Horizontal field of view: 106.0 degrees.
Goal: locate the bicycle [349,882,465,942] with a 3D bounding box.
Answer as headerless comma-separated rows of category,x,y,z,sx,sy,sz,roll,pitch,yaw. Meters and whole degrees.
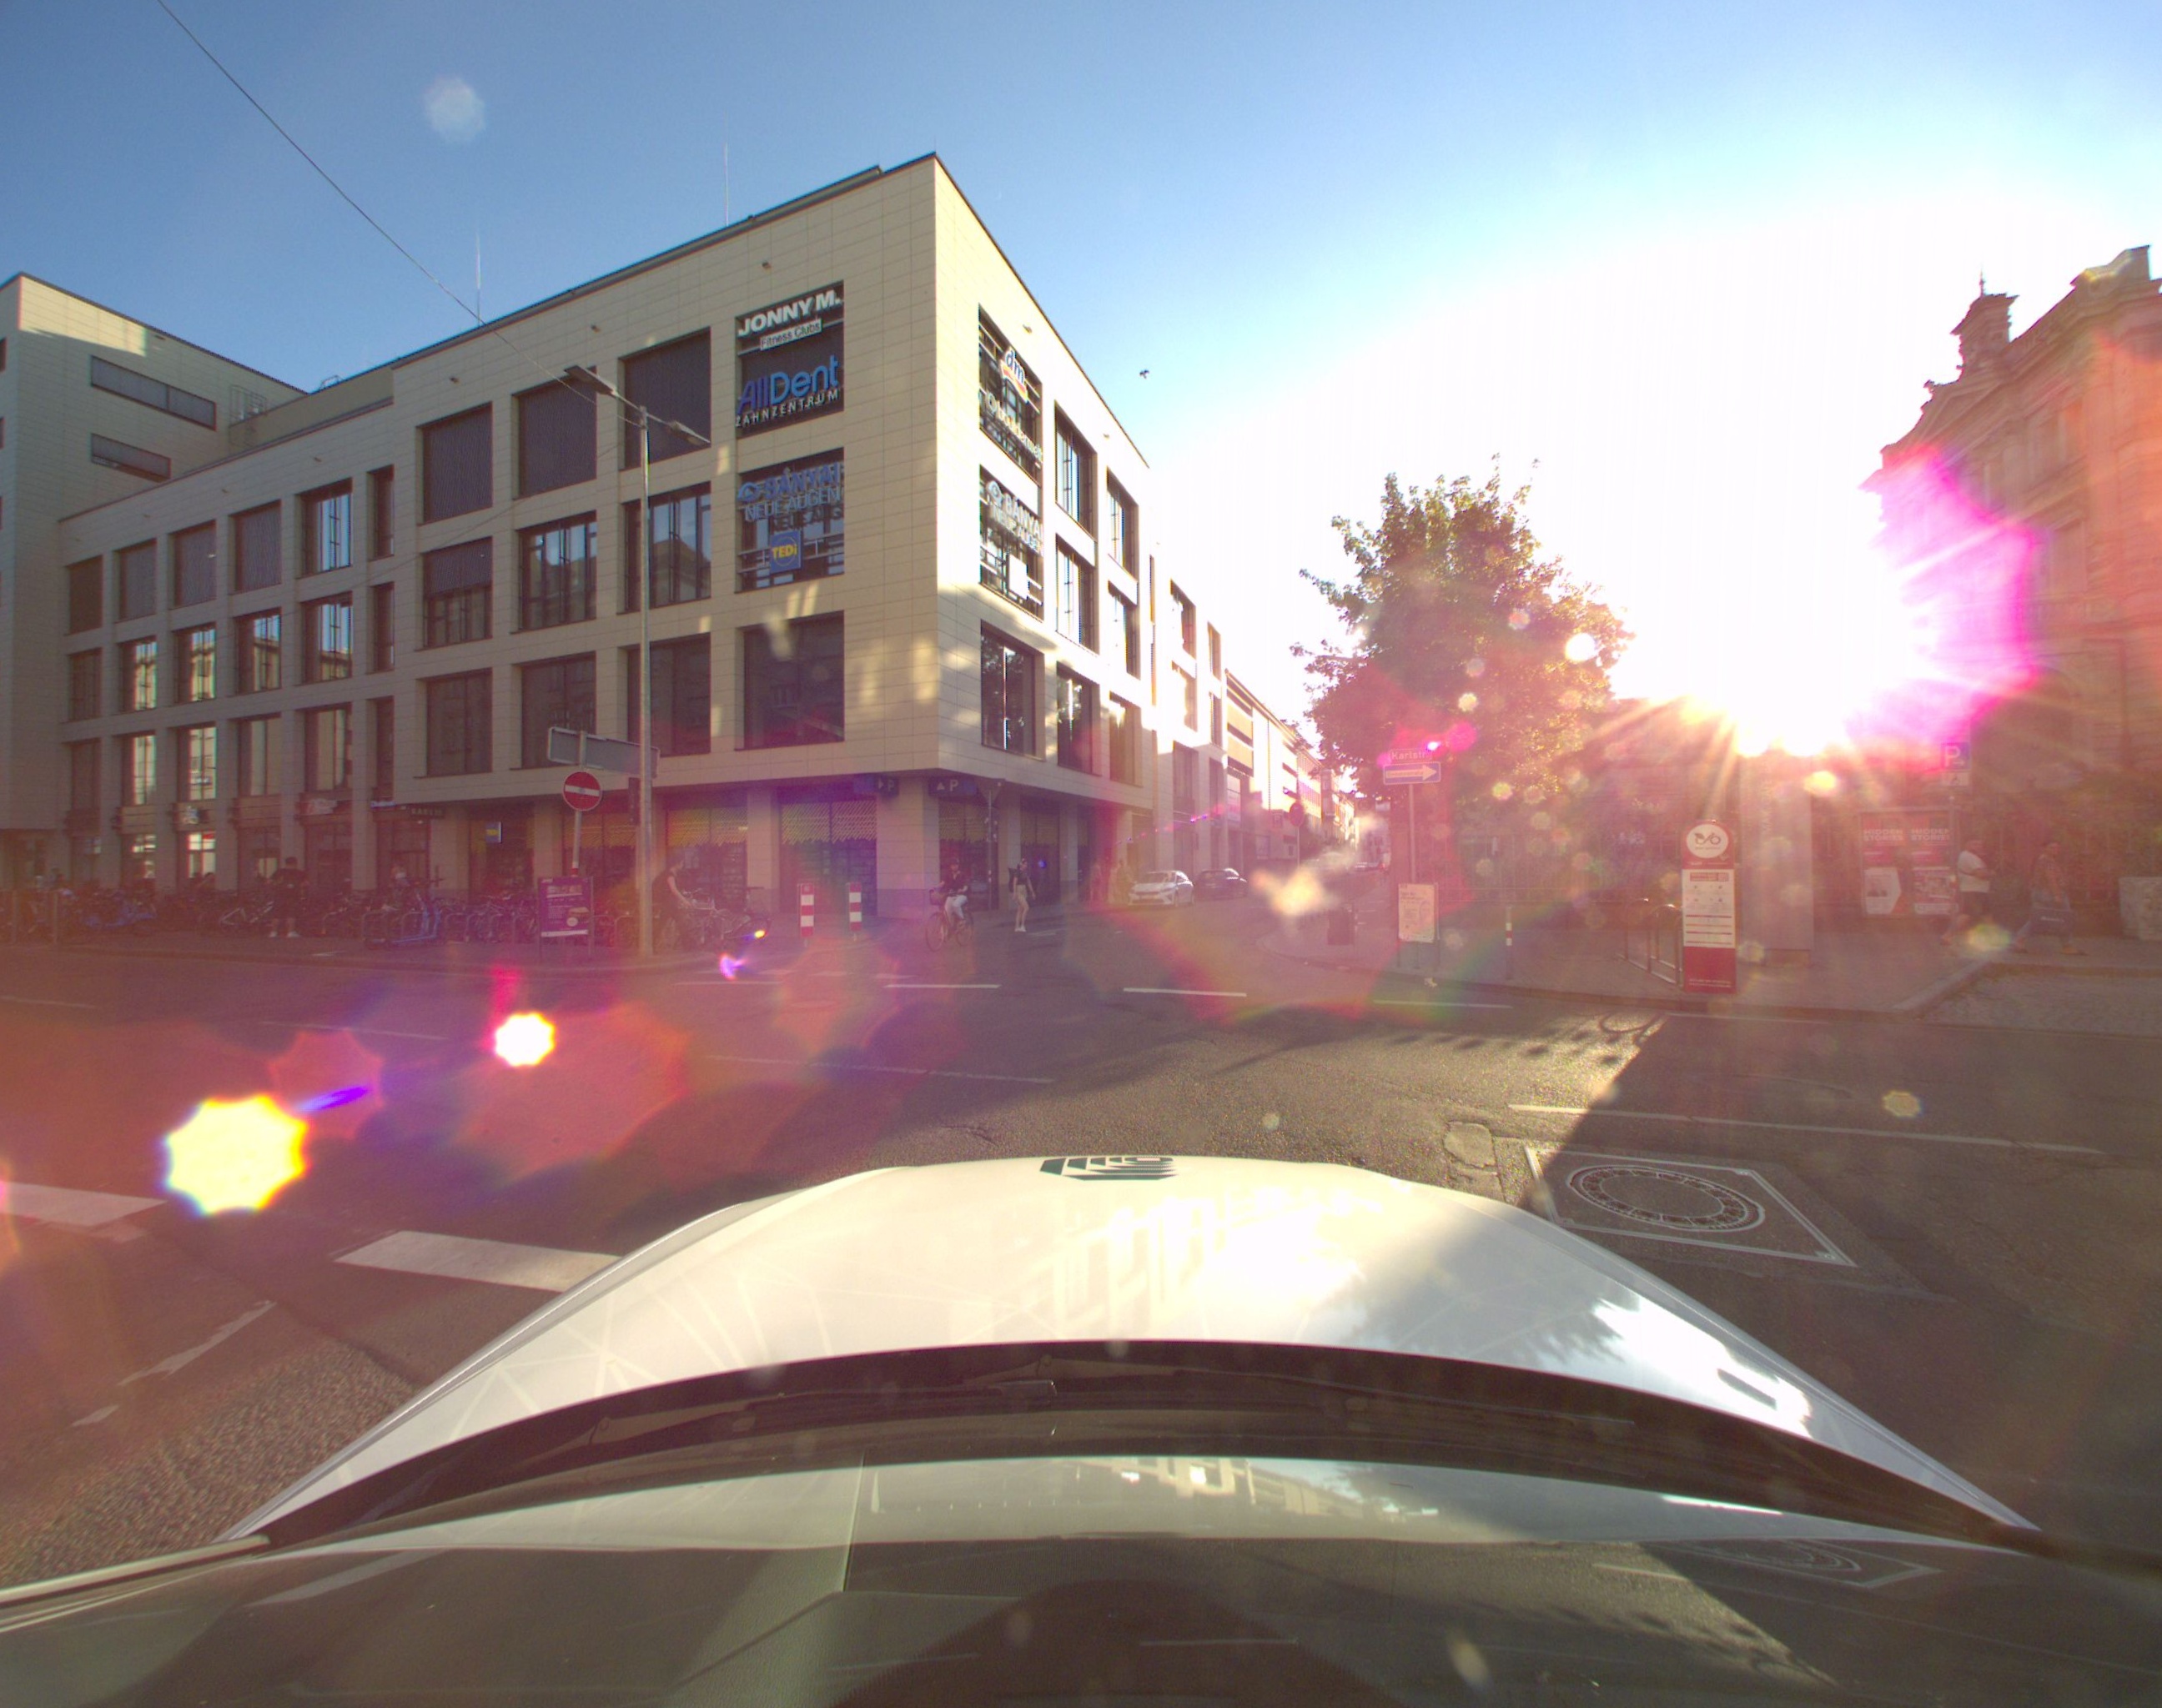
bicycle,-15.089,1.269,18.301,0.507,1.255,1.989,-1,-1,21

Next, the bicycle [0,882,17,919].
bicycle,-36.633,1.551,26.722,0.507,1.255,1.989,-1,-1,21

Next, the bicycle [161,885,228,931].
bicycle,-24.966,1.496,22.920,1.956,1.255,0.516,-1,-2,19

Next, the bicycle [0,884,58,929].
bicycle,-30.789,1.525,23.767,1.956,1.255,0.516,-1,-2,19

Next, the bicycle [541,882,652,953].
bicycle,-9.412,1.195,15.920,0.507,1.255,1.988,-1,-1,20

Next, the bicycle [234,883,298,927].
bicycle,-24.230,1.490,24.207,1.956,1.255,0.516,-1,-2,19

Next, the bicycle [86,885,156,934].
bicycle,-25.453,1.455,21.593,1.956,1.255,0.516,-1,-2,19

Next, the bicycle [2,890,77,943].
bicycle,-25.946,1.547,20.286,1.956,1.255,0.516,-1,-2,19

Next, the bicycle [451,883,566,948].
bicycle,-11.868,1.236,16.971,0.507,1.255,1.989,-1,-1,21

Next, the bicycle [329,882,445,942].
bicycle,-15.727,1.274,18.523,0.507,1.255,1.989,-1,-1,21

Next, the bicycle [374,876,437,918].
bicycle,-21.101,1.327,25.425,1.955,1.255,0.616,-1,-2,21

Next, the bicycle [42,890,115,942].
bicycle,-25.746,1.572,20.918,1.956,1.255,0.516,-1,-2,19

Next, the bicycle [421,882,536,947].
bicycle,-12.663,1.242,17.208,0.507,1.255,1.988,-1,-1,19

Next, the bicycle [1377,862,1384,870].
bicycle,47.346,1.941,128.789,0.966,1.280,2.769,-1,-1,23

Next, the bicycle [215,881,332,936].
bicycle,-19.773,1.311,20.001,0.507,1.255,1.989,-1,-1,21

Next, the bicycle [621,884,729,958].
bicycle,-7.446,1.190,15.062,0.507,1.255,1.988,-1,-1,19

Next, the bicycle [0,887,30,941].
bicycle,-26.187,1.432,19.571,1.956,1.255,0.516,-1,-2,19

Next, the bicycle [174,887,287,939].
bicycle,-22.387,1.519,21.484,0.507,1.255,1.989,-1,-1,21

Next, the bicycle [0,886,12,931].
bicycle,-31.008,1.525,22.916,1.956,1.255,0.516,-1,-2,19

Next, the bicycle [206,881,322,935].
bicycle,-20.434,1.321,20.419,0.507,1.255,1.989,-1,-1,21

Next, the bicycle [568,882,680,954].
bicycle,-8.696,1.185,15.614,0.507,1.255,1.989,-1,-1,21

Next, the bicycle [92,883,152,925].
bicycle,-29.914,1.537,25.396,1.956,1.255,0.516,-1,-2,19

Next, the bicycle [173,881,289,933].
bicycle,-21.828,1.334,20.965,0.507,1.255,1.989,-1,-1,21

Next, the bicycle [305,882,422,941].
bicycle,-16.434,1.280,18.733,0.507,1.255,1.989,-1,-1,21

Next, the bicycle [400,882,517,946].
bicycle,-13.250,1.247,17.422,0.507,1.255,1.989,-1,-1,21

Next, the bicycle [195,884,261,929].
bicycle,-24.691,1.502,23.566,1.956,1.255,0.516,-1,-2,19

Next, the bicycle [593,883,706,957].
bicycle,-8.030,1.195,15.261,0.507,1.255,1.989,-1,-1,23

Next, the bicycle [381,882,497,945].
bicycle,-13.945,1.256,17.770,0.507,1.255,1.989,-1,-1,21

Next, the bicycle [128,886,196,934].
bicycle,-25.171,1.520,22.306,1.956,1.255,0.516,-1,-2,19

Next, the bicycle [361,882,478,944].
bicycle,-14.522,1.260,17.945,0.507,1.255,1.989,-1,-1,21

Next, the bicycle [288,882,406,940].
bicycle,-16.996,1.284,18.927,0.507,1.255,1.989,-1,-1,21

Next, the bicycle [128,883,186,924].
bicycle,-29.672,1.579,26.149,1.956,1.255,0.516,-1,-2,19

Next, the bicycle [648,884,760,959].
bicycle,-6.833,1.185,14.896,0.576,1.255,2.054,-1,-1,19

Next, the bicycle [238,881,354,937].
bicycle,-19.050,1.306,19.822,0.507,1.255,1.989,-1,-1,21

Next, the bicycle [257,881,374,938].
bicycle,-18.287,1.299,19.523,0.507,1.255,1.989,-1,-1,21

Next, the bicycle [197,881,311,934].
bicycle,-21.108,1.331,20.848,0.507,1.255,1.989,-1,-1,21

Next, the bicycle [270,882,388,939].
bicycle,-17.594,1.289,19.111,0.507,1.255,1.989,-1,-1,21

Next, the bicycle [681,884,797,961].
bicycle,-6.100,1.180,14.688,0.658,1.255,2.151,-1,-1,19
